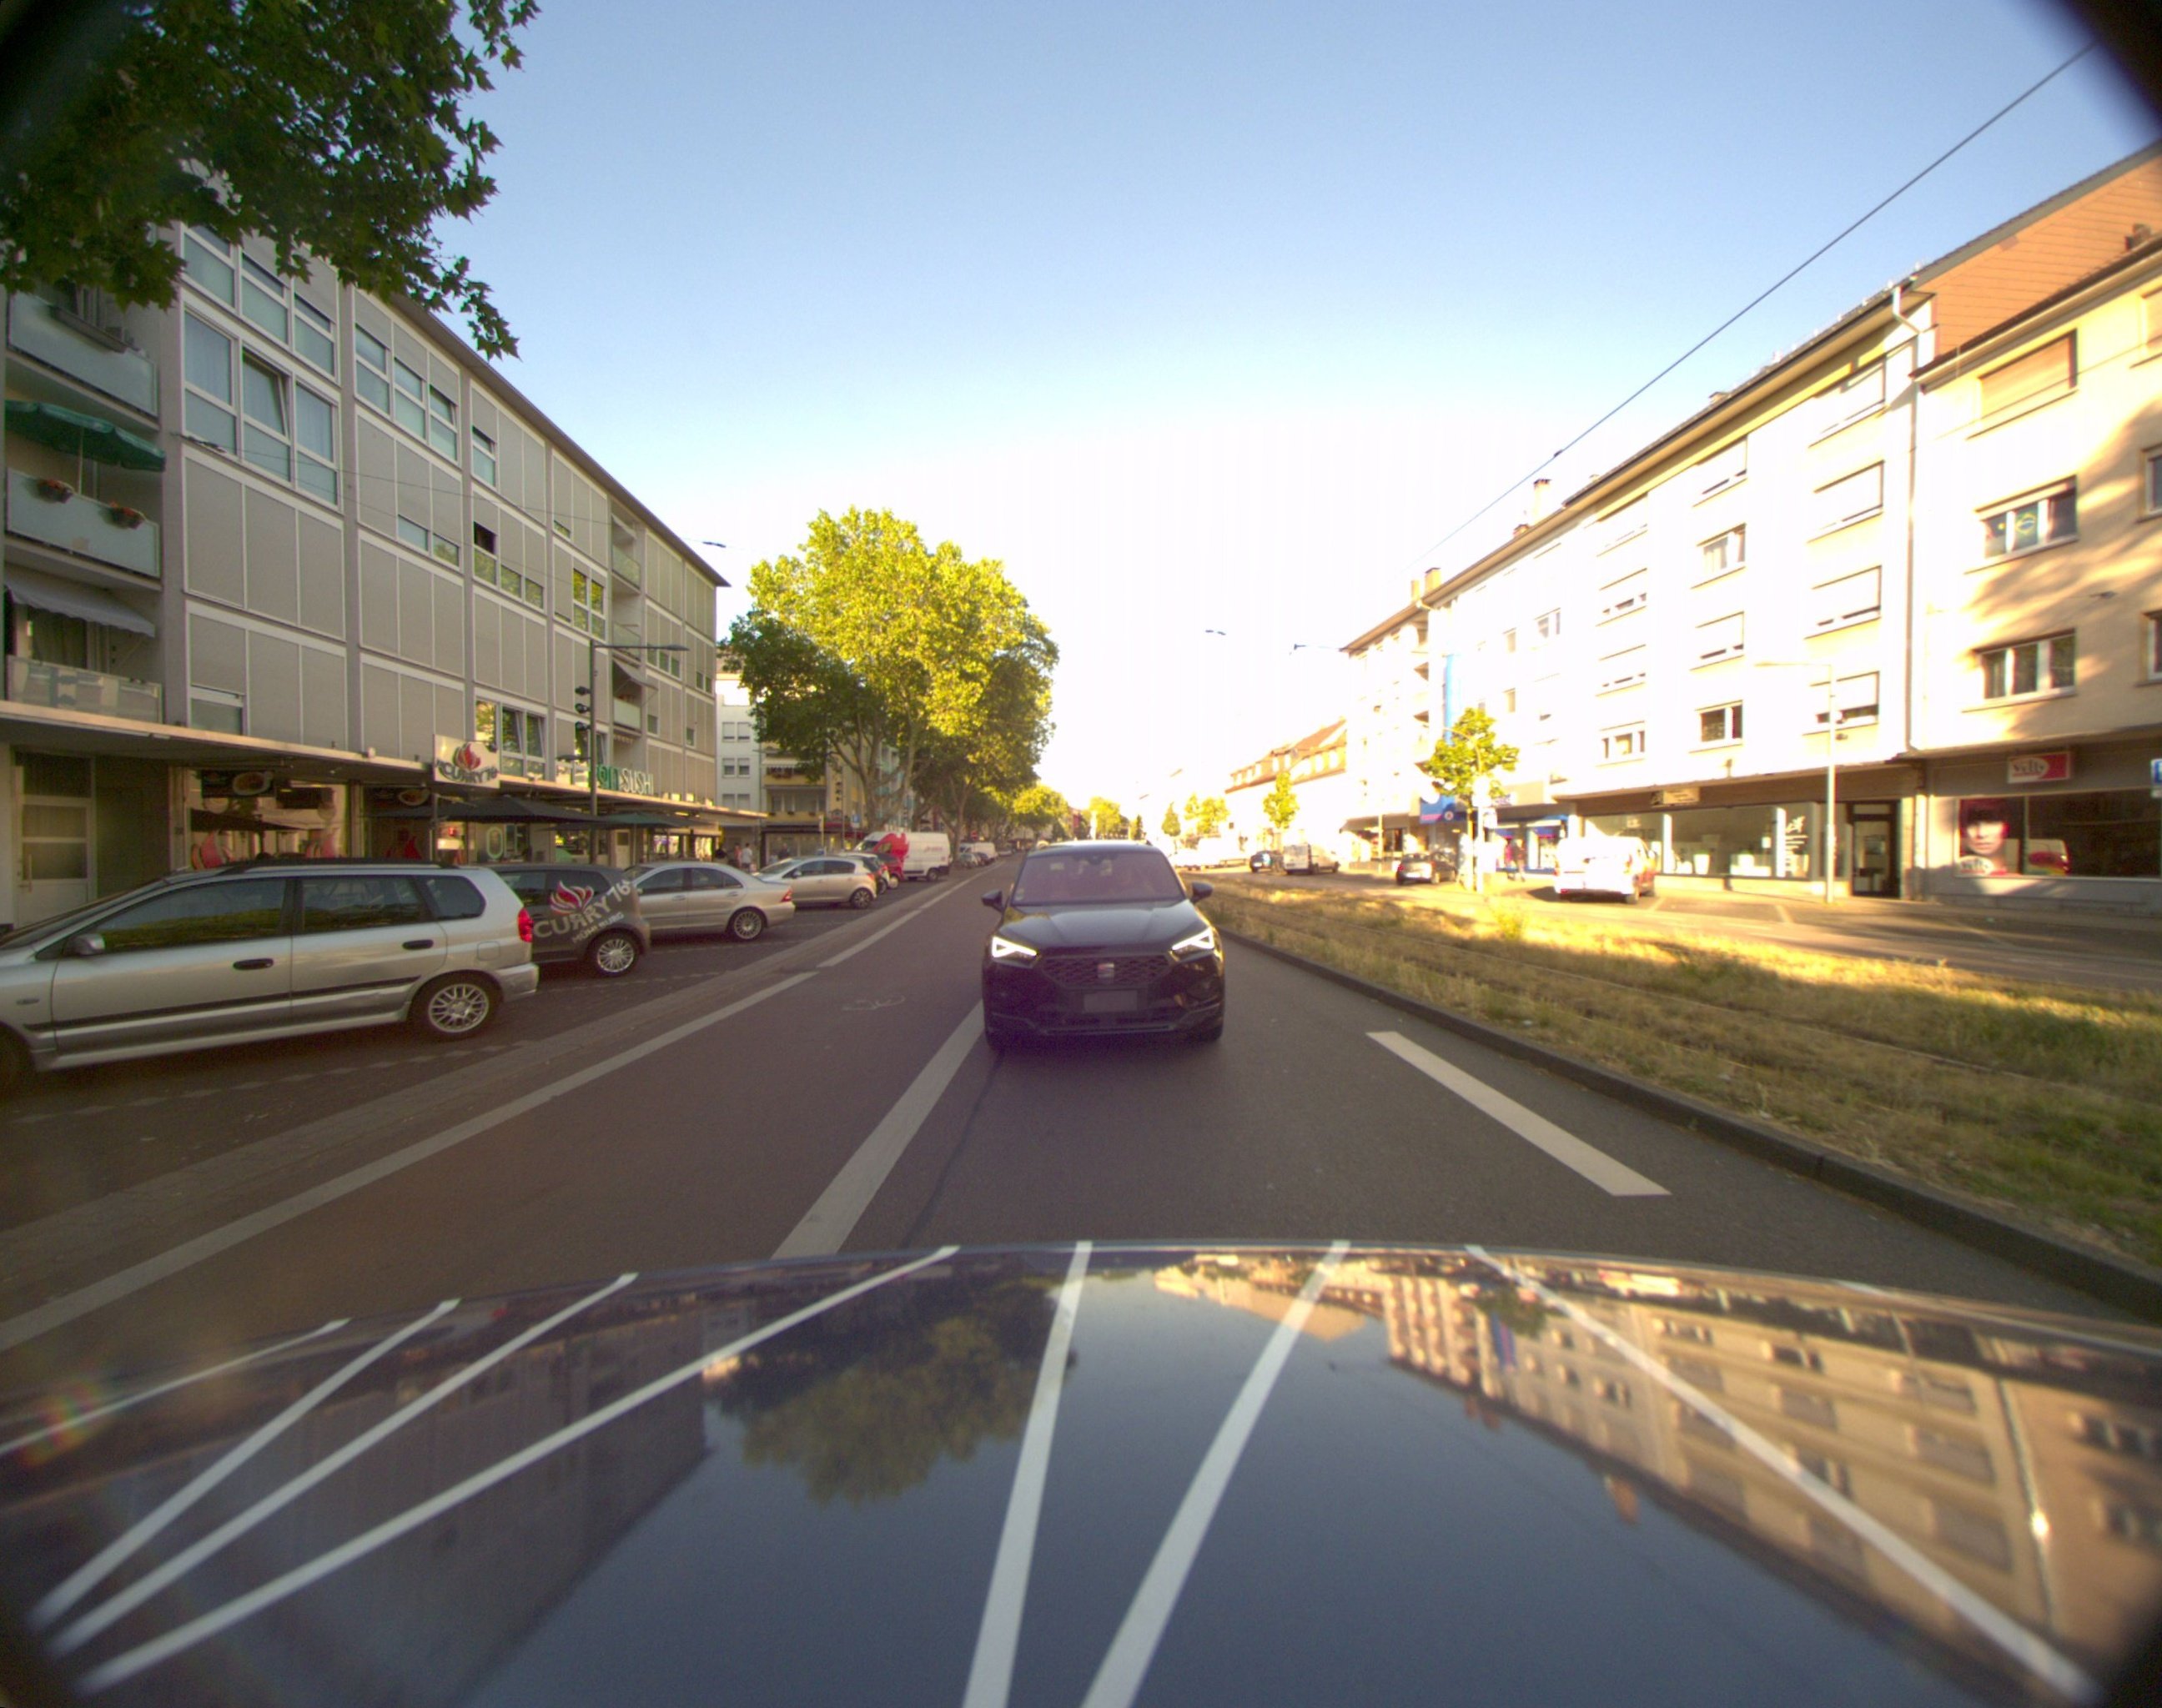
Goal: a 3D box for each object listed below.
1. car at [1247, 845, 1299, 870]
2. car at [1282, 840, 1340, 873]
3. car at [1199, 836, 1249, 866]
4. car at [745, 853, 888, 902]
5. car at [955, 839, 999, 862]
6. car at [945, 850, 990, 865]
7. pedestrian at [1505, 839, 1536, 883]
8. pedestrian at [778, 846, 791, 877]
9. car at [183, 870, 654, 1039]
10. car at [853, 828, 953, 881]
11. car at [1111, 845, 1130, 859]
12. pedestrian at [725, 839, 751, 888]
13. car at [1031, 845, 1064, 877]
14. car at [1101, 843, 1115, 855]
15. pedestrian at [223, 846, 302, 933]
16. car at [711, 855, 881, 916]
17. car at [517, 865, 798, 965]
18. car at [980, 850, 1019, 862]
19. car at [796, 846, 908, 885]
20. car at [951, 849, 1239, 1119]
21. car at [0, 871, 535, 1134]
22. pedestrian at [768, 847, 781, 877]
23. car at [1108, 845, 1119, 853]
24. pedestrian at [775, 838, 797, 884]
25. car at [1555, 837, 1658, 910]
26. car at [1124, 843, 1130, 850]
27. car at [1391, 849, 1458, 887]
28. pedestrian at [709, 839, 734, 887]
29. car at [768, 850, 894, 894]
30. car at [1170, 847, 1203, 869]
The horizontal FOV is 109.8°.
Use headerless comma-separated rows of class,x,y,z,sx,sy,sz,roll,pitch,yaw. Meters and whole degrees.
car,13.806,0.225,54.585,3.922,1.704,1.853,-2,1,-45
car,14.508,0.143,47.721,1.853,1.927,4.513,-1,1,40
car,12.959,-0.322,68.576,1.922,2.599,6.601,-1,1,34
car,-8.306,0.731,23.970,3.949,1.420,1.672,1,1,-34
car,-11.587,-0.382,84.962,1.973,2.454,4.606,1,1,44
car,-10.840,0.306,72.826,1.778,1.396,3.943,1,1,44
pedestrian,18.515,0.279,32.029,0.757,1.817,0.917,-1,1,-2
pedestrian,-16.607,0.410,42.594,0.545,1.710,0.457,0,1,-4
car,-7.523,0.962,8.991,1.672,1.420,3.950,2,1,38
car,-8.777,0.053,37.722,4.606,2.479,1.672,0,0,-44
car,5.093,-0.284,99.608,1.999,1.783,3.998,0,1,-4
pedestrian,-14.106,0.377,31.275,0.748,2.002,0.764,0,1,-4
car,-1.873,0.374,43.324,1.646,1.646,3.999,-2,1,-1
car,4.613,-0.868,130.727,1.906,2.002,3.998,0,1,-5
pedestrian,-15.106,0.635,14.046,0.583,1.573,0.771,0,1,2
car,-7.555,0.800,20.391,3.950,1.420,1.555,1,1,-45
car,-7.186,0.927,13.201,1.592,1.393,3.950,2,1,41
car,-8.808,0.198,82.383,1.778,1.326,3.943,1,1,44
car,-9.141,0.484,30.396,3.948,1.421,1.672,1,2,-32
car,0.122,0.825,6.853,1.785,1.639,3.999,-2,1,1
car,-6.874,0.962,5.871,1.672,1.533,3.993,2,1,38
pedestrian,-17.157,0.437,42.561,0.537,1.630,0.478,0,1,-4
car,7.996,-1.265,188.701,2.498,1.871,5.273,0,1,1
pedestrian,-12.992,0.300,33.461,0.748,2.002,0.559,0,1,-4
car,15.610,0.496,22.486,1.853,1.888,4.007,-1,2,44
car,14.874,-2.416,243.348,1.842,2.002,4.001,0,1,4
car,15.348,0.593,33.838,1.731,1.489,4.008,-1,1,40
pedestrian,-14.896,0.383,31.492,0.748,1.964,0.575,0,1,-4
car,-8.915,0.643,27.198,3.948,1.421,1.672,2,2,-32
car,8.071,0.289,58.576,1.846,1.571,4.449,-1,1,0
